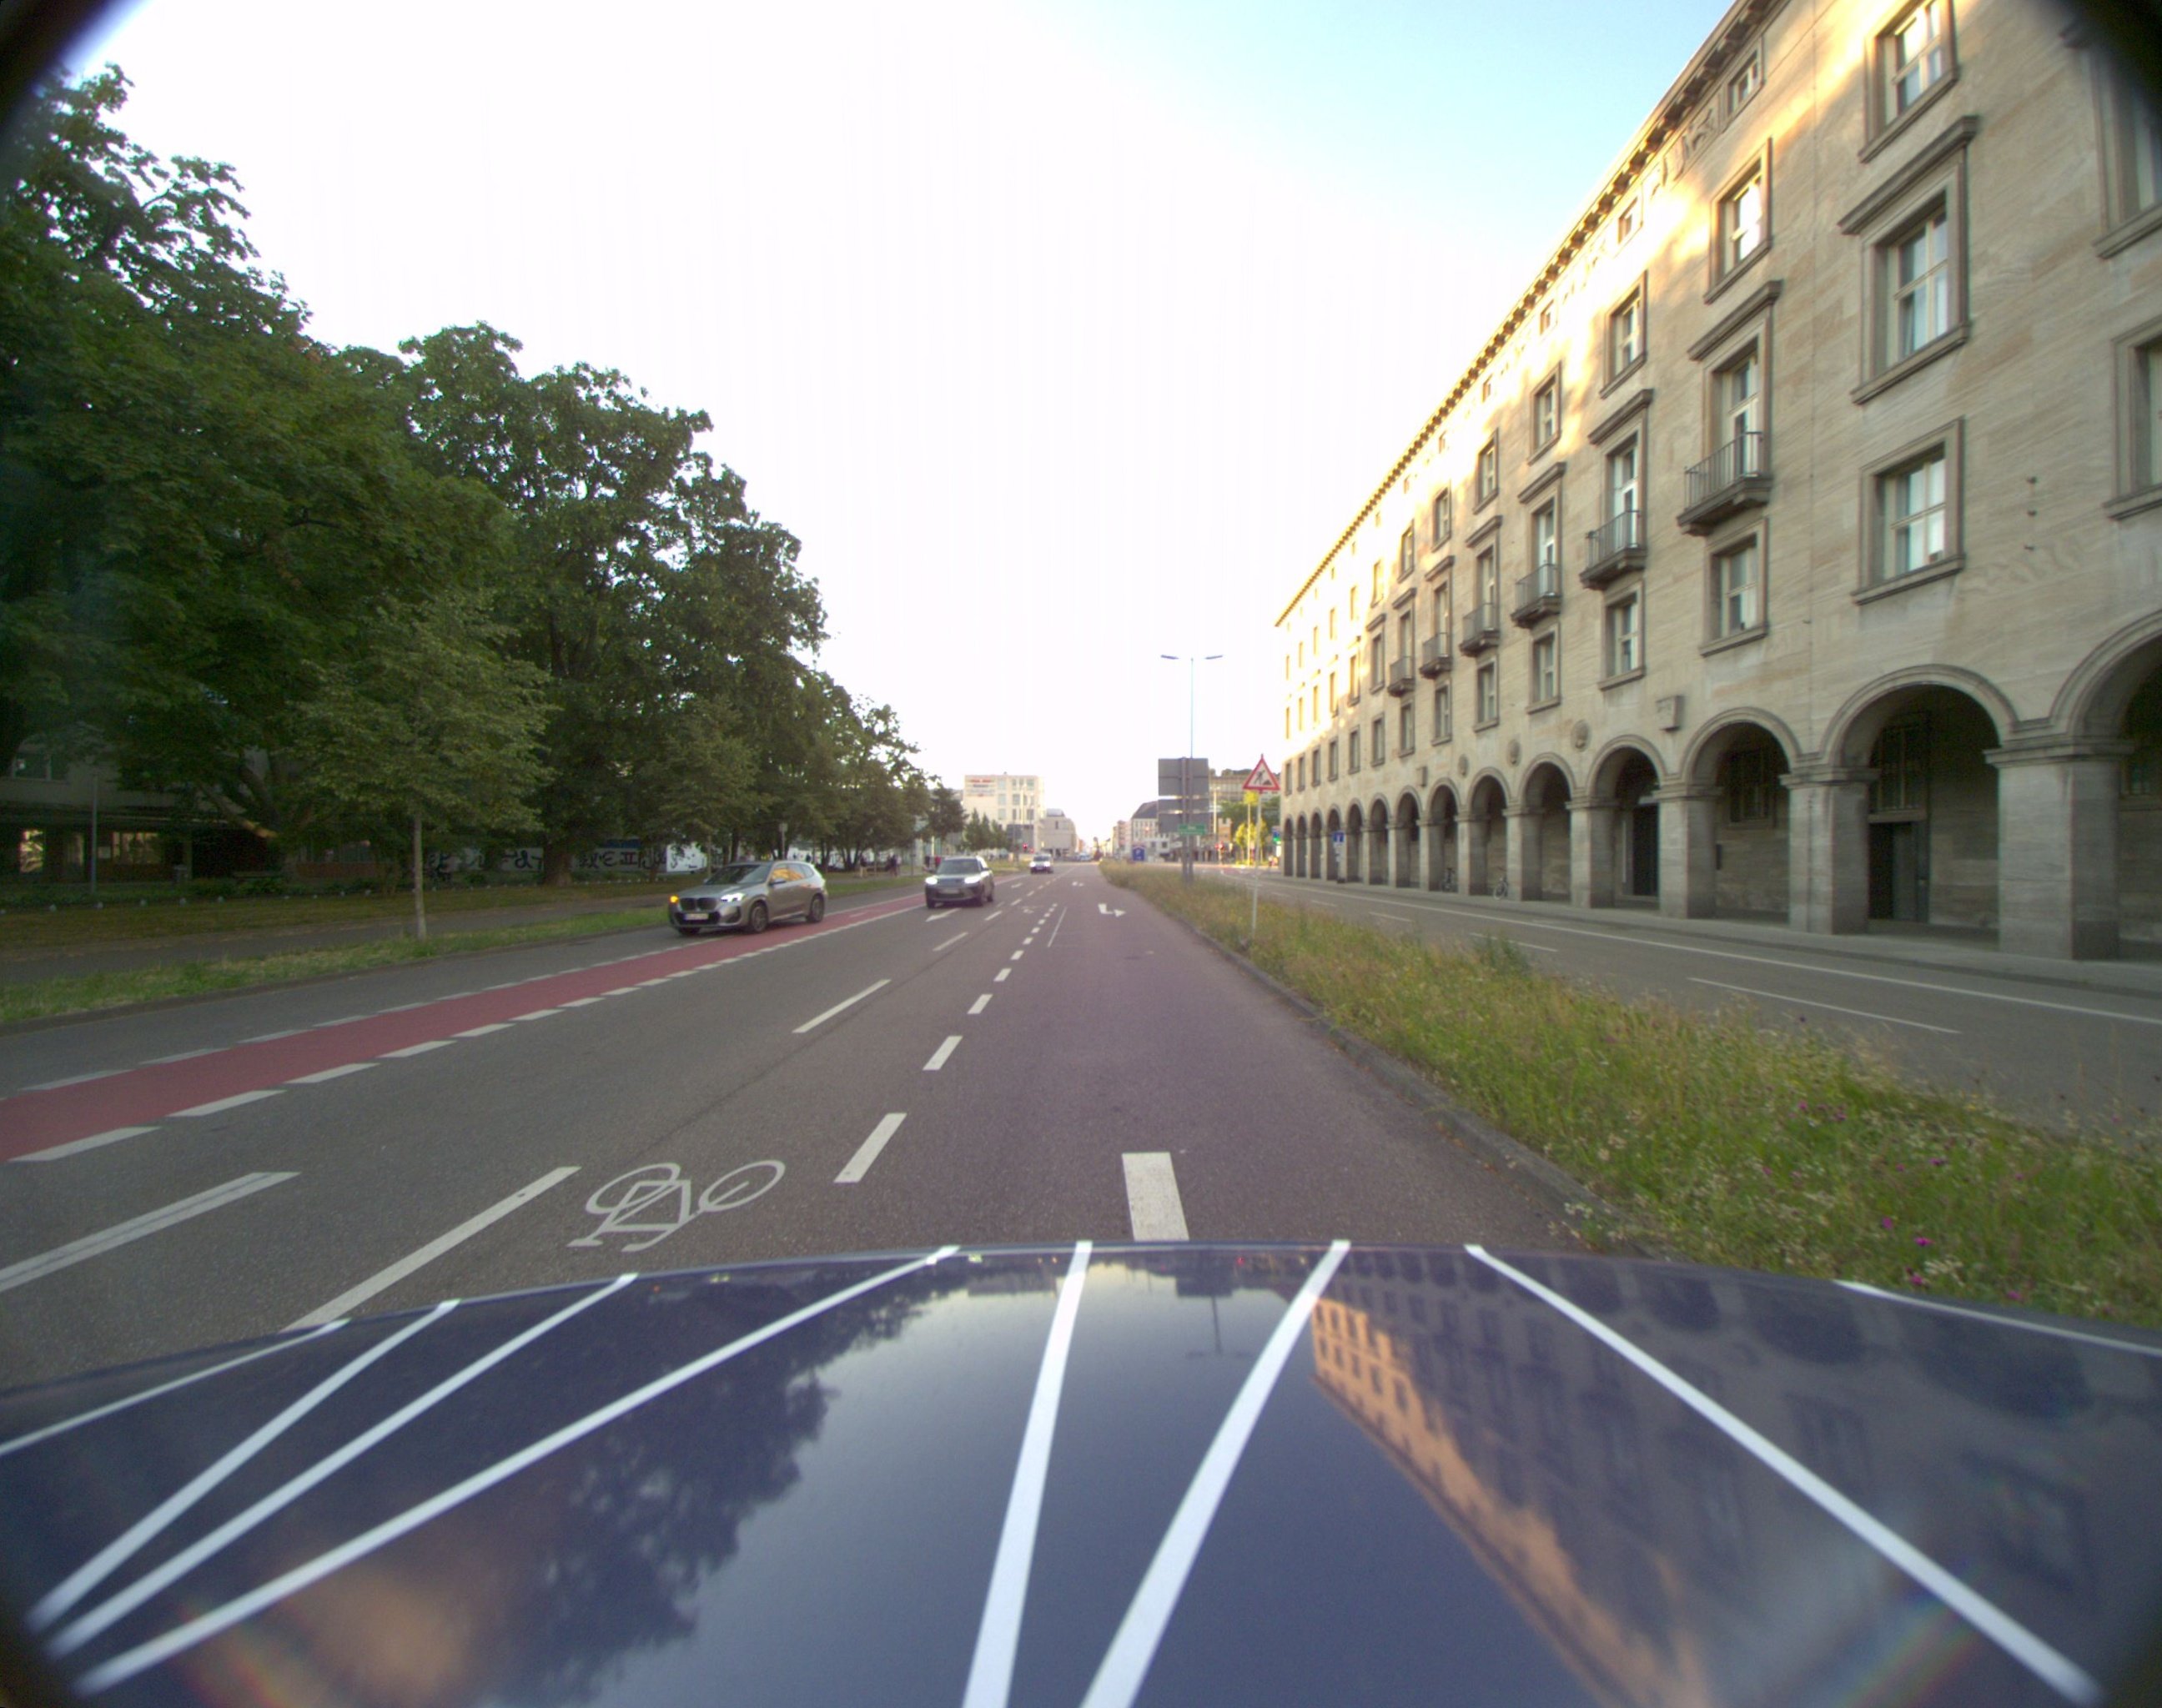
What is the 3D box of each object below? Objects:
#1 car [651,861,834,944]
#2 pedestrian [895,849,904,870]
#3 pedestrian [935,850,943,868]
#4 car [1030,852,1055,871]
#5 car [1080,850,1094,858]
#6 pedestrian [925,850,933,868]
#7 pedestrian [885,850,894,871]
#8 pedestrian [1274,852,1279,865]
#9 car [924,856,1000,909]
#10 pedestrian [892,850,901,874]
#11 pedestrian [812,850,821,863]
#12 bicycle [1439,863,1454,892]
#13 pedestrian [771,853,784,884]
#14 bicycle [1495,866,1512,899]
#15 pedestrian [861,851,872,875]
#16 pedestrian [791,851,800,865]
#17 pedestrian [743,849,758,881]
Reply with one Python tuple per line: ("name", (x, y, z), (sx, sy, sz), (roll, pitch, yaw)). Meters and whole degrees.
("car", (-7.701, 1.029, 17.837), (1.825, 1.612, 4.339), (-2, 0, 9))
("pedestrian", (-14.505, 0.424, 60.811), (0.509, 1.720, 0.719), (0, 1, 1))
("pedestrian", (-13.809, 0.480, 73.882), (0.638, 1.747, 0.506), (0, 1, 1))
("car", (-3.466, 0.623, 69.010), (1.781, 1.676, 4.216), (0, 0, 3))
("car", (1.747, -0.068, 218.512), (1.995, 2.297, 5.099), (0, 0, 28))
("pedestrian", (-14.777, 0.447, 73.964), (0.638, 1.747, 0.506), (0, 1, 1))
("pedestrian", (-15.376, 0.506, 61.052), (0.519, 1.720, 0.719), (0, 1, 1))
("pedestrian", (24.095, 0.577, 93.850), (0.526, 1.532, 0.390), (0, 1, 1))
("car", (-3.884, 0.879, 25.506), (1.782, 1.617, 4.215), (-1, 0, 1))
("pedestrian", (-13.408, 0.580, 55.206), (0.558, 1.729, 0.555), (0, 1, 1))
("pedestrian", (-26.307, 0.235, 75.652), (0.662, 1.347, 0.559), (0, 1, 1))
("bicycle", (15.458, 0.974, 32.174), (0.513, 1.172, 2.427), (0, 0, 25))
("pedestrian", (-15.313, 0.737, 38.373), (0.500, 1.592, 0.365), (0, 1, 1))
("bicycle", (15.539, 1.021, 27.911), (0.513, 1.115, 2.427), (0, 1, 30))
("pedestrian", (-15.094, 0.617, 53.444), (0.509, 1.720, 0.719), (0, 1, 1))
("pedestrian", (-28.208, 0.400, 75.083), (0.631, 1.347, 0.681), (0, 1, 1))
("pedestrian", (-16.620, 0.557, 38.234), (0.500, 1.592, 0.522), (0, 1, 1))
